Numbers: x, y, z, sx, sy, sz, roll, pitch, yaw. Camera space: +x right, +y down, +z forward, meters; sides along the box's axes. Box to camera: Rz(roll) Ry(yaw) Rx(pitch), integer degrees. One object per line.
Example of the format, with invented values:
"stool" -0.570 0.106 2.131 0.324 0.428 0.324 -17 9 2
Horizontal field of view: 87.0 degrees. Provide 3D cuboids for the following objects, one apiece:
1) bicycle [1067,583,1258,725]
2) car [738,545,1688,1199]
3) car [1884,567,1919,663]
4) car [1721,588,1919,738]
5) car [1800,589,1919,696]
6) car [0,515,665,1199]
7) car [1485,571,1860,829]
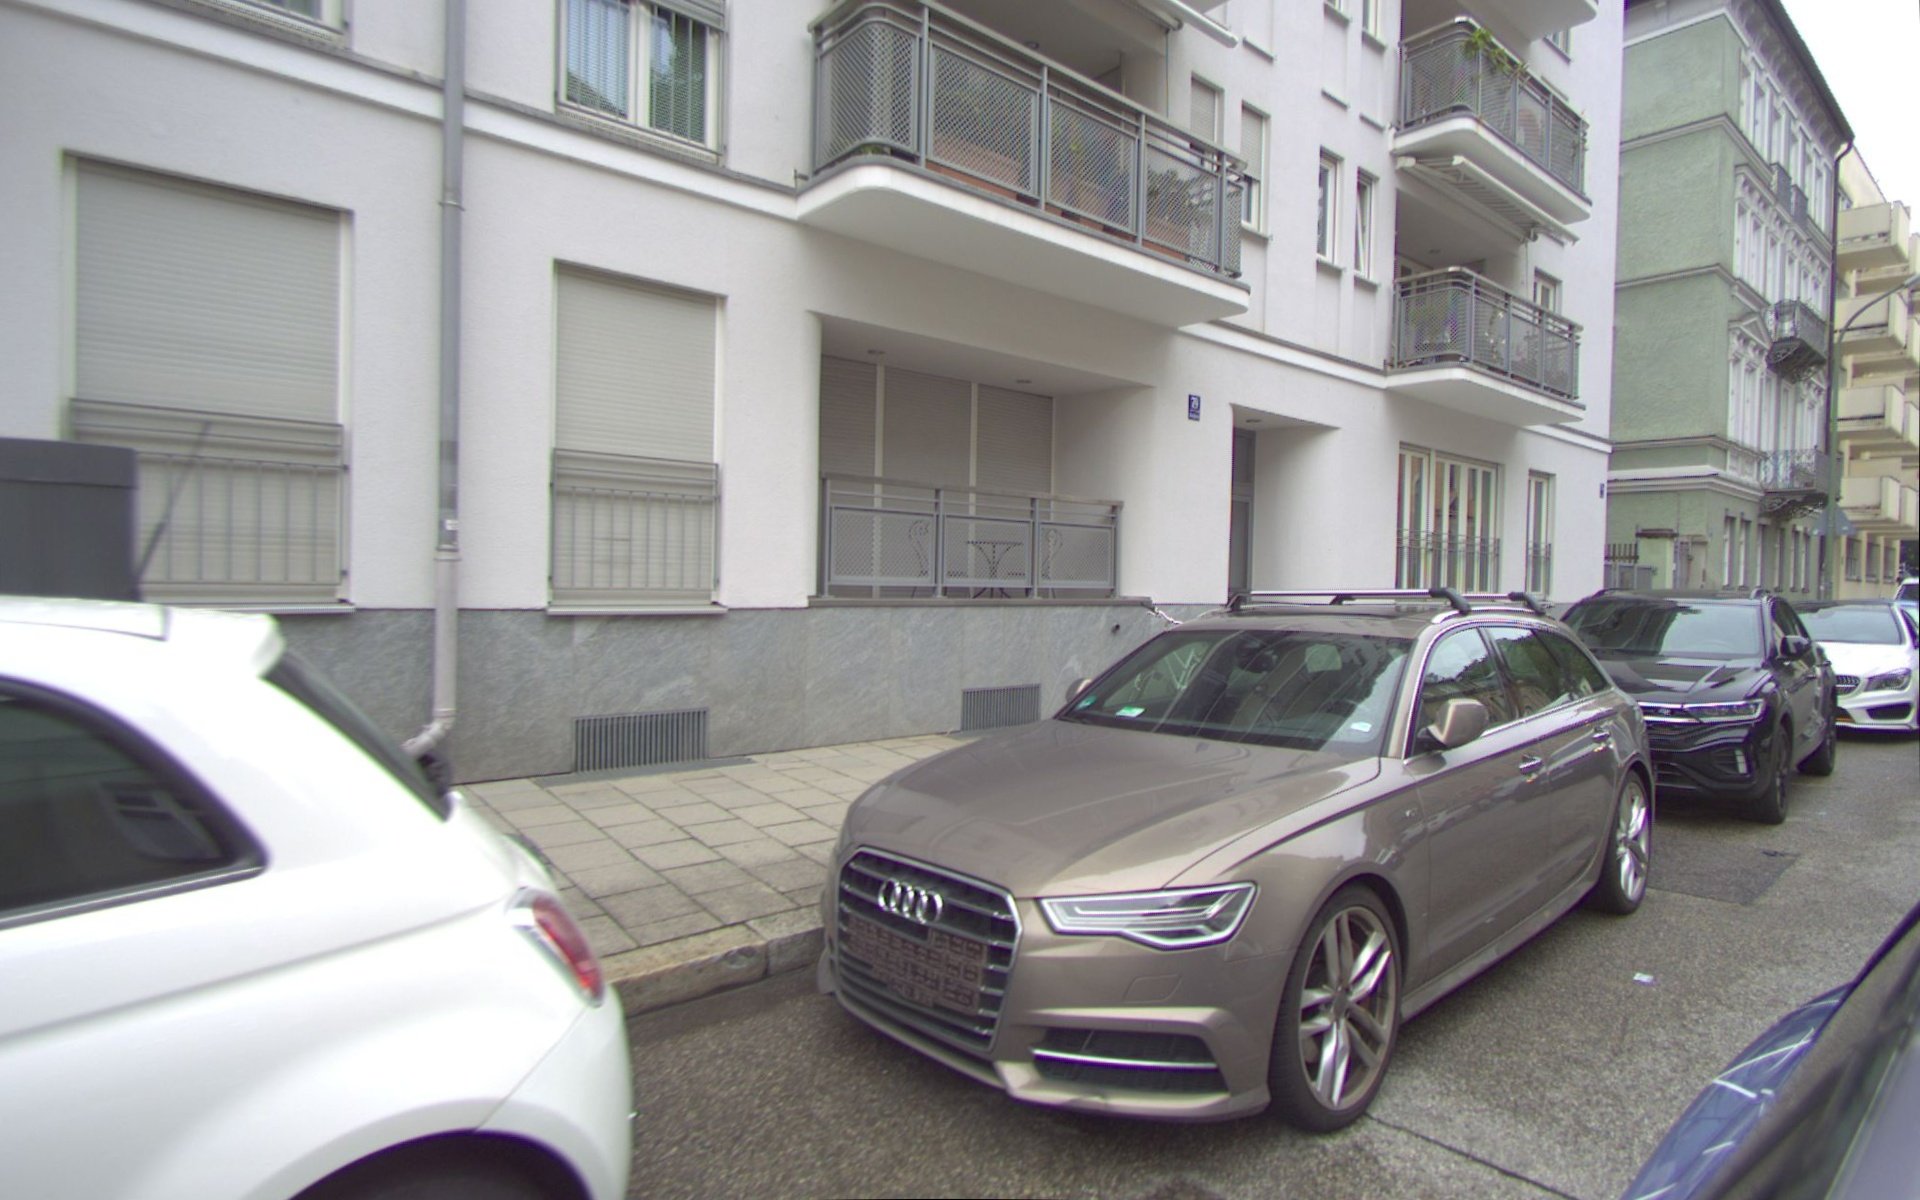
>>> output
"bicycle" 1.933 0.447 9.437 2.091 1.174 0.628 0 2 -43
"car" 1.494 0.658 4.348 4.542 1.550 1.736 0 -1 -42
"car" 21.195 0.298 21.372 4.509 1.921 1.857 0 -1 -40
"car" 10.387 0.615 11.798 4.135 1.458 1.660 0 -1 -42
"car" 13.904 0.564 15.128 3.493 1.430 1.620 -1 0 -43
"car" -2.328 0.665 1.261 3.465 1.550 1.522 0 0 -42
"car" 5.785 0.604 8.029 3.916 1.550 1.605 0 -1 -42
